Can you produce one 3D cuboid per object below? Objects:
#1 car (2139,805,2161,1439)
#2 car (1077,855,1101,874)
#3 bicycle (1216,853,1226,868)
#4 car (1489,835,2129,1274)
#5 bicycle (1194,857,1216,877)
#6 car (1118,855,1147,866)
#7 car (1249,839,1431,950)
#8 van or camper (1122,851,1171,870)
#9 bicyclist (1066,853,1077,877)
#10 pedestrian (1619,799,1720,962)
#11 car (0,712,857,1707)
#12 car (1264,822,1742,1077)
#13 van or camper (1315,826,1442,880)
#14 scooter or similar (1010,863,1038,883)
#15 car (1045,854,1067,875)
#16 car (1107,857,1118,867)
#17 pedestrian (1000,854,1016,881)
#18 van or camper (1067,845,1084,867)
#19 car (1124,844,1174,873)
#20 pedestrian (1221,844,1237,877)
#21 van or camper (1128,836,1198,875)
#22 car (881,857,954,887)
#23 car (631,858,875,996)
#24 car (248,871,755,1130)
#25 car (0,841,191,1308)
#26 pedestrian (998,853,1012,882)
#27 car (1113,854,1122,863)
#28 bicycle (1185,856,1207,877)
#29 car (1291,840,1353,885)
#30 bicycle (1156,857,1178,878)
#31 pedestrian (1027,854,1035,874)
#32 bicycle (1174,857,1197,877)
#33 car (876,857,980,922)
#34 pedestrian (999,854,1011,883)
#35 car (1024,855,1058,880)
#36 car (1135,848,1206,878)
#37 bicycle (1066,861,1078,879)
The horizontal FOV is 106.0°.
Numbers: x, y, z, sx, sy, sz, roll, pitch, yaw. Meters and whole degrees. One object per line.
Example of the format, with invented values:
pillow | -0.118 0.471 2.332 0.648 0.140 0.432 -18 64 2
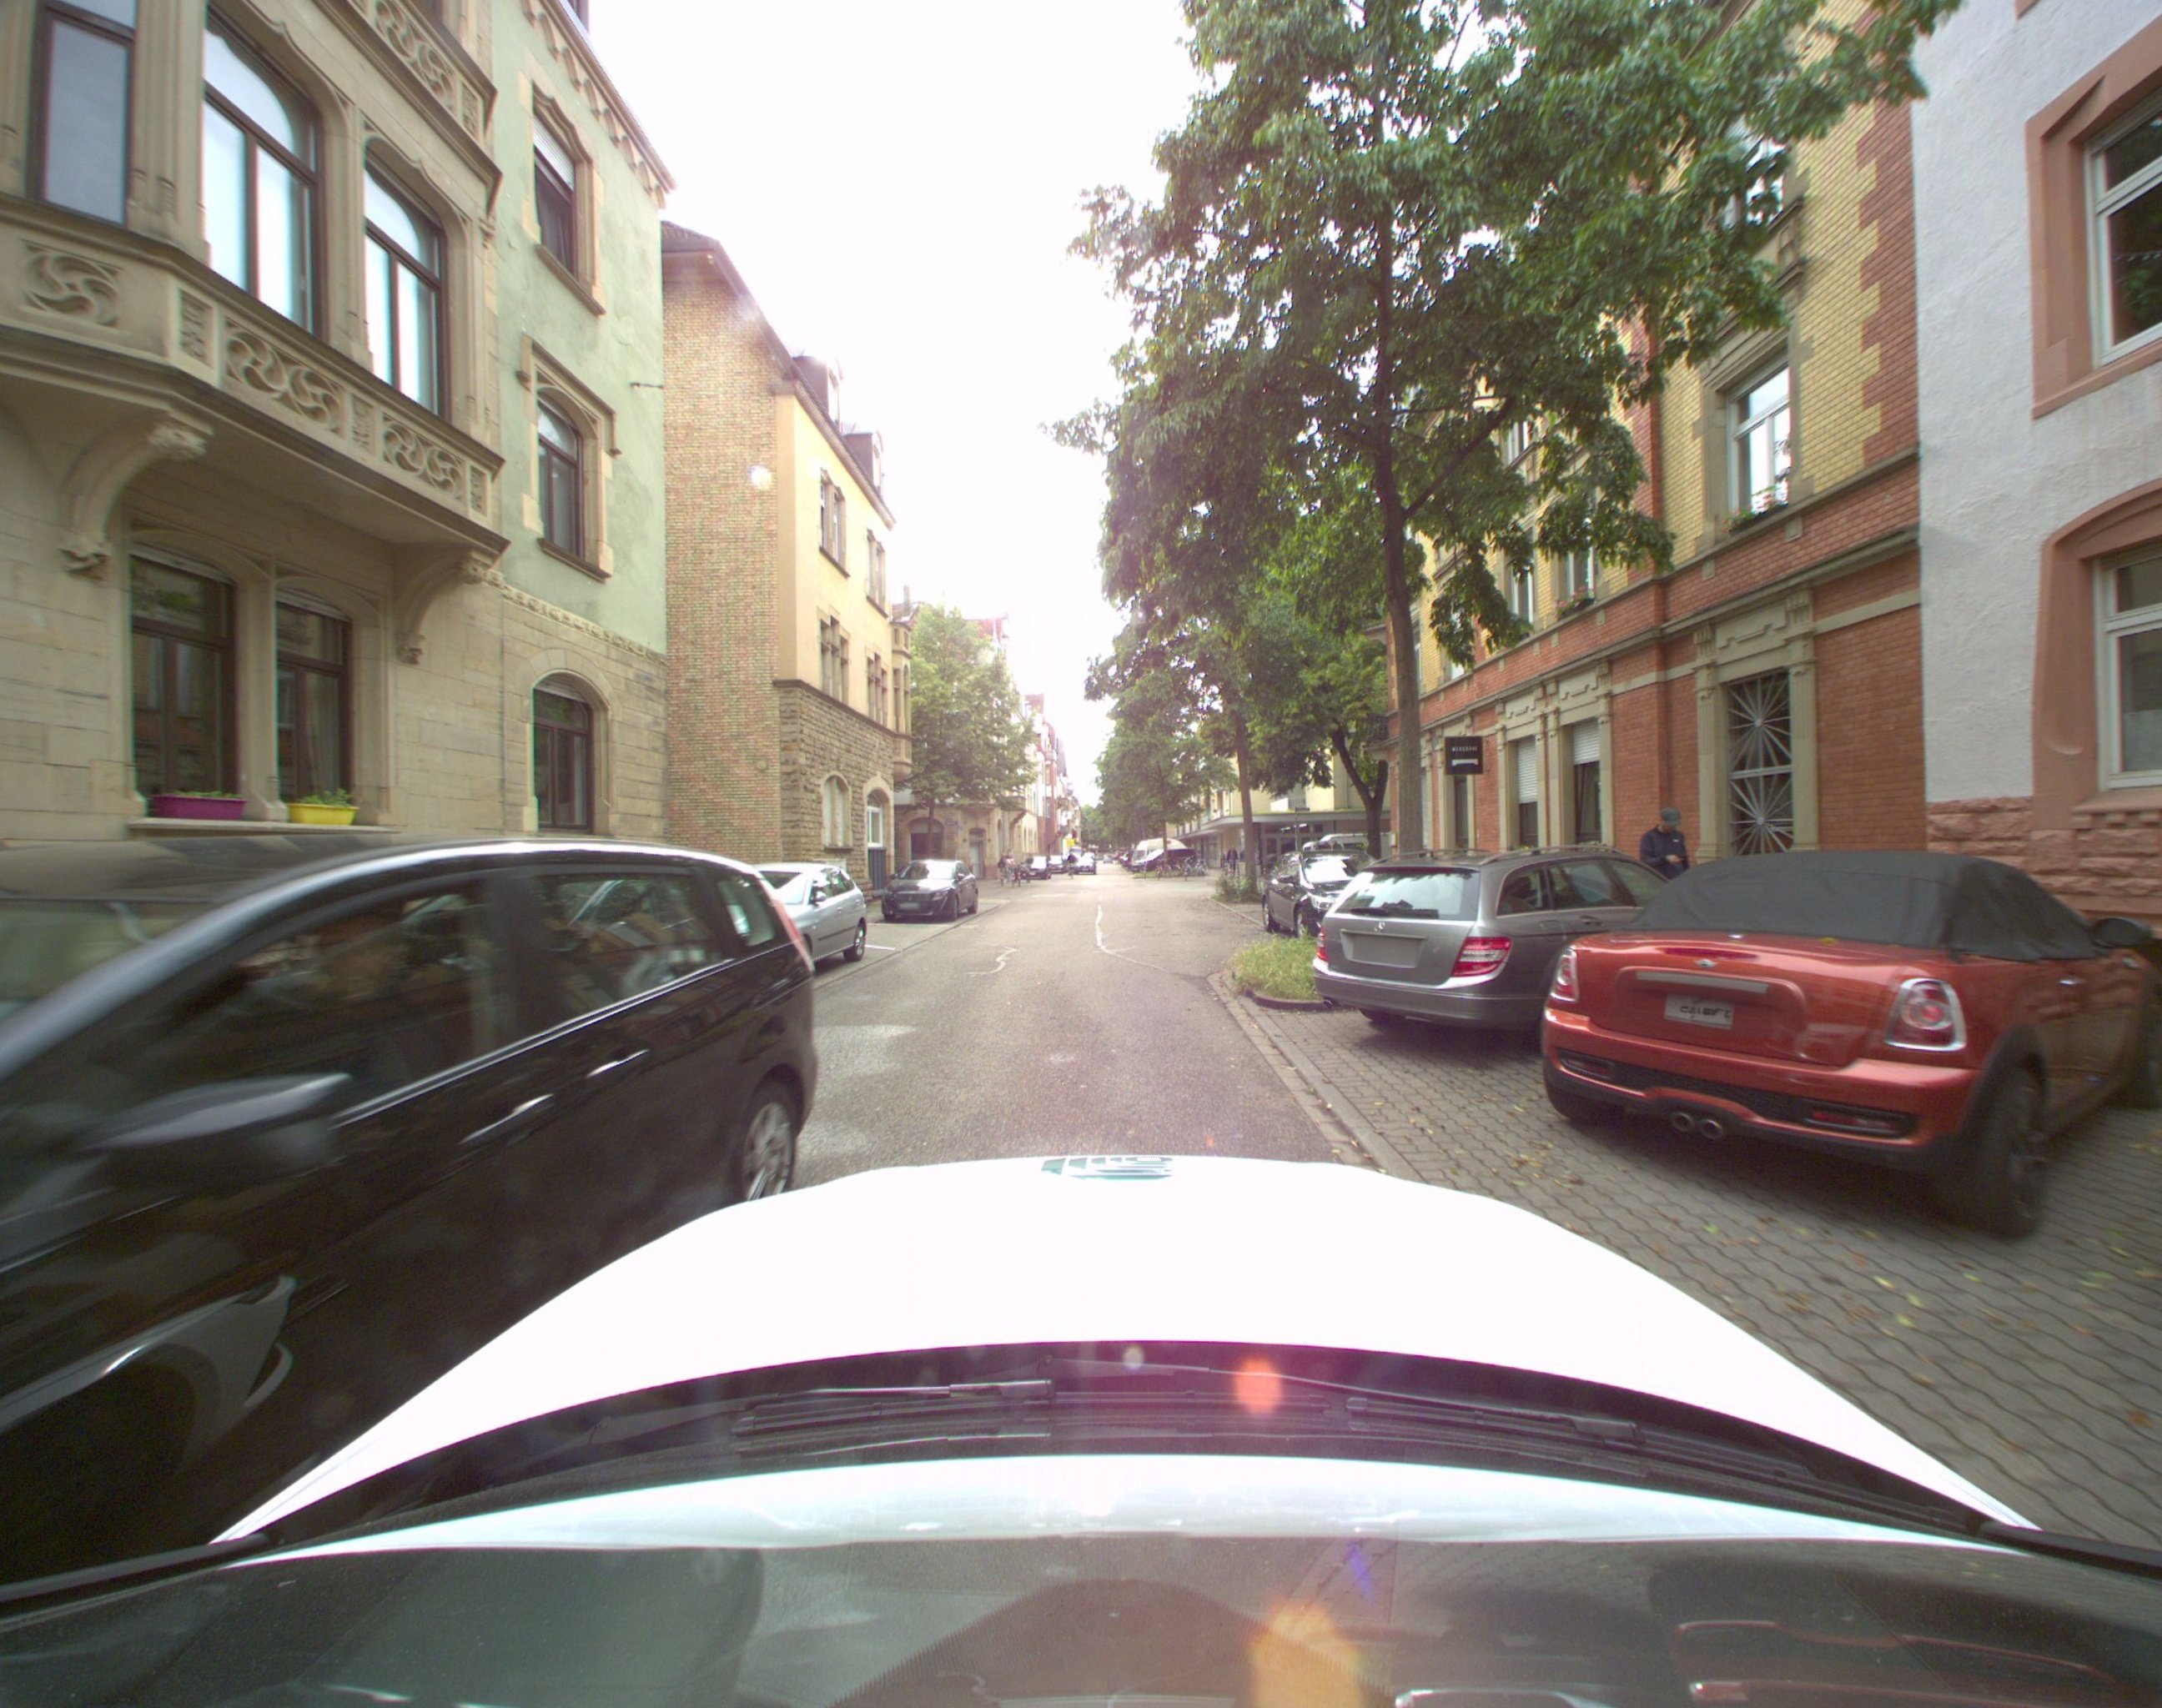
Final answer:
car | 3.575 0.606 1.363 3.705 1.466 1.689 -2 0 -30
car | 0.665 0.859 64.894 1.701 1.413 3.854 -2 -1 2
bicycle | 10.419 0.507 60.643 0.482 1.090 1.702 -1 0 4
car | 4.197 0.651 4.537 3.899 1.435 1.728 -1 1 -34
bicycle | 7.387 0.749 48.427 0.550 1.173 1.686 -1 0 -20
car | 7.916 0.945 125.076 4.034 1.559 1.867 -1 0 -29
car | 4.184 0.584 13.956 1.757 1.486 4.481 -3 0 2
van or camper | 7.312 0.705 91.276 5.032 1.869 2.109 -3 -1 -26
bicyclist | -0.612 0.687 53.277 0.645 1.538 0.677 -2 -1 4
pedestrian | 6.555 0.288 9.103 0.595 1.733 0.663 -2 0 0
car | -2.175 0.664 2.075 1.802 1.630 4.211 -1 -1 3
car | 3.773 0.556 6.944 4.465 1.427 1.739 -3 0 -36
van or camper | 15.034 -0.057 41.427 5.737 2.494 2.142 -2 3 8
scooter or similar | -3.237 1.061 46.514 1.459 1.104 0.678 1 0 13
car | -2.021 0.845 66.407 1.640 1.570 2.957 0 1 1
car | 5.690 1.453 146.693 1.985 1.794 4.002 0 -1 3
pedestrian | -4.293 0.775 47.850 0.623 1.593 0.674 -1 0 43
van or camper | -0.689 0.258 112.657 2.000 2.651 5.320 -2 3 2
car | 5.518 0.348 65.834 2.040 2.196 4.427 -2 0 35
pedestrian | 8.040 0.349 44.329 0.775 1.797 0.510 -1 0 4
van or camper | 5.753 0.086 57.049 4.611 2.596 1.892 -2 0 -31
car | -9.084 1.006 45.395 3.546 1.460 1.655 -2 2 11
car | -4.004 0.798 10.647 1.584 1.434 3.810 0 0 1
car | -4.155 0.908 6.586 1.511 1.434 3.458 0 0 2
car | -4.291 0.725 1.403 1.662 1.511 3.551 -1 0 -2
pedestrian | -4.371 0.760 47.086 0.612 1.643 0.606 -1 0 14
car | 8.821 0.992 195.564 1.986 2.013 4.001 2 0 1
bicycle | 6.766 0.740 48.040 0.550 1.173 1.717 -1 0 -20
car | 10.426 0.356 35.529 1.762 1.819 4.005 -2 0 4
bicycle | 4.939 0.747 47.051 0.550 1.173 1.717 -1 0 -20
pedestrian | -3.898 0.794 63.255 0.513 1.518 0.547 -1 0 2
bicycle | 6.121 0.765 47.787 0.550 1.173 1.717 -1 0 -20
car | -3.702 0.819 20.414 1.720 1.434 3.884 0 0 2
pedestrian | -4.344 0.827 46.441 0.524 1.643 0.530 0 0 14
car | -2.502 0.870 51.581 1.702 1.495 4.003 0 -1 3
car | 5.957 0.560 54.340 4.351 1.854 1.896 -2 0 -23
bicycle | -0.585 1.035 53.269 0.631 1.094 1.801 -1 -1 4
